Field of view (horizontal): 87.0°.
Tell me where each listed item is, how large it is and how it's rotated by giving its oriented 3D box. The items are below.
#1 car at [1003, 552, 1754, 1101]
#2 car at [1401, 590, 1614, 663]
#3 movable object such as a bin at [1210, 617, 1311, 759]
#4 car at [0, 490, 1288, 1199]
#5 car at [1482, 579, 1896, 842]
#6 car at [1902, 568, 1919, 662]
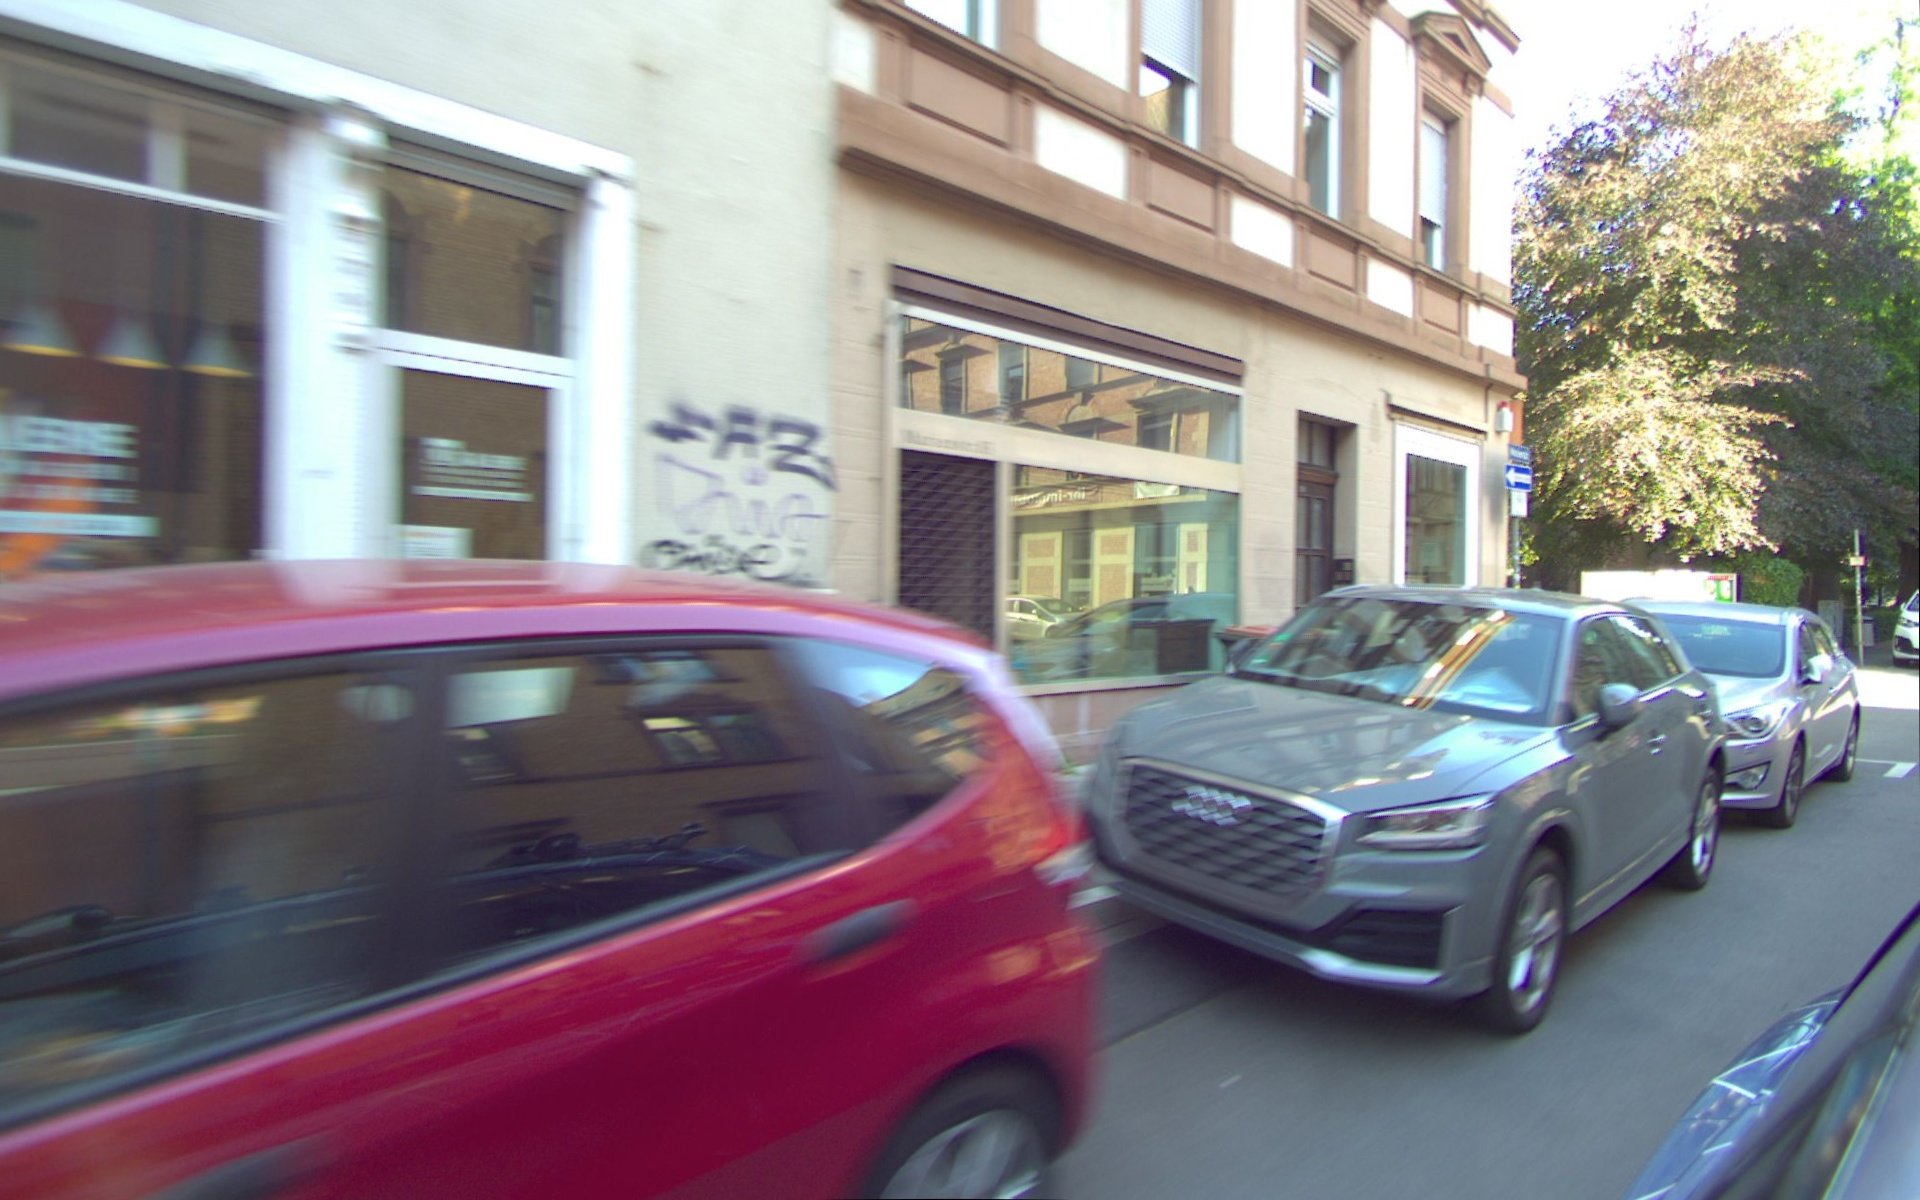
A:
[{"bbox_3d":[2.237,0.609,4.812,3.952,1.525,1.747,0,2,-42],"label":"car"},{"bbox_3d":[12.473,0.558,23.273,1.765,1.457,3.930,-2,1,-36],"label":"car"},{"bbox_3d":[2.415,0.681,8.144,0.583,1.052,0.515,0,2,-40],"label":"movable object such as a bin"},{"bbox_3d":[-1.272,0.621,1.774,4.111,1.525,1.601,0,2,-41],"label":"car"},{"bbox_3d":[6.013,0.653,8.136,4.281,1.525,1.747,0,2,-41],"label":"car"},{"bbox_3d":[22.913,0.360,22.666,4.704,2.023,1.920,0,2,-38],"label":"car"}]
